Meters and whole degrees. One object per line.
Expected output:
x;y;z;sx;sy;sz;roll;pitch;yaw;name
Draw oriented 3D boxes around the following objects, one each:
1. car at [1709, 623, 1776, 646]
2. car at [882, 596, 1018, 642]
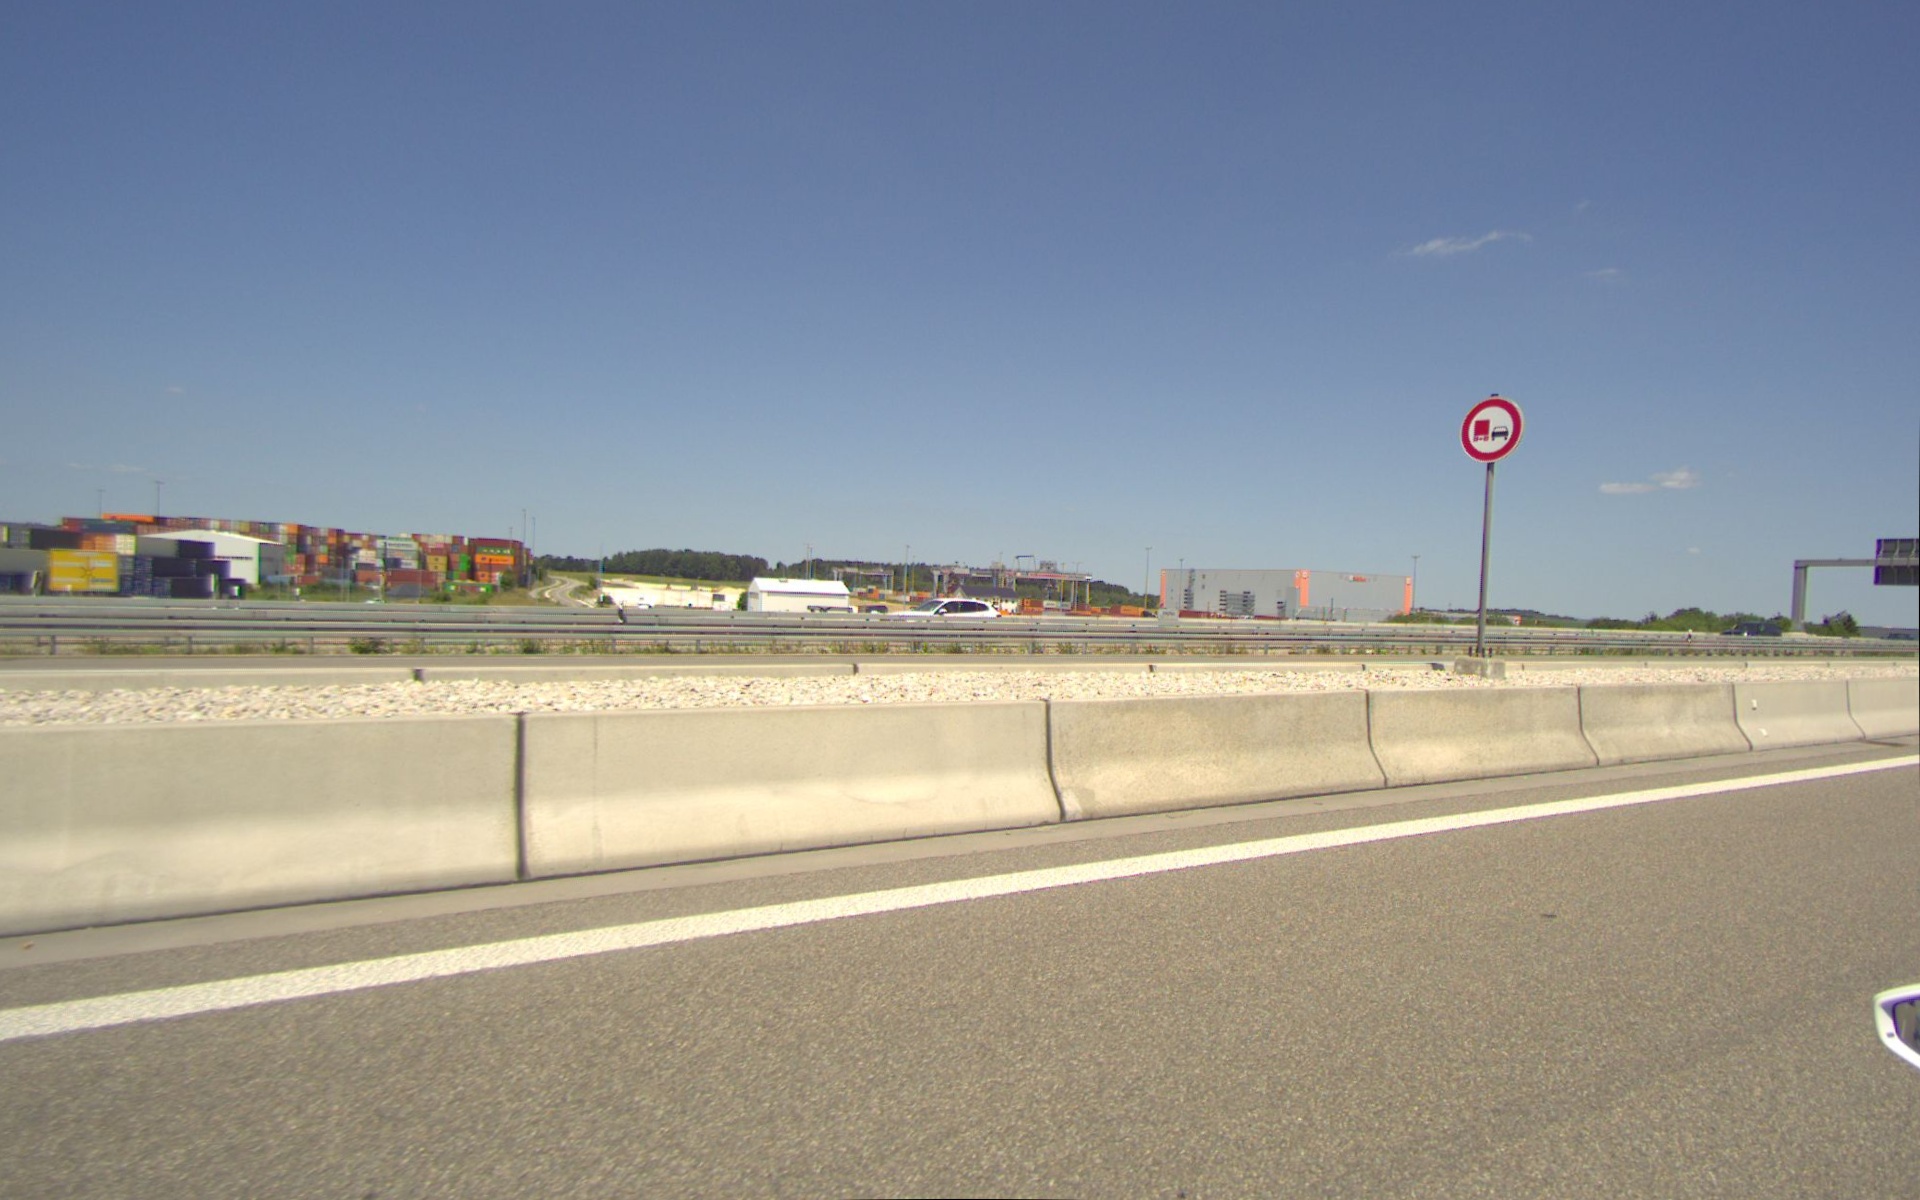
52.393;2.311;67.227;4.308;1.398;1.985;2;0;-29;car
-0.313;0.639;33.401;4.311;1.398;1.556;2;0;-30;car
